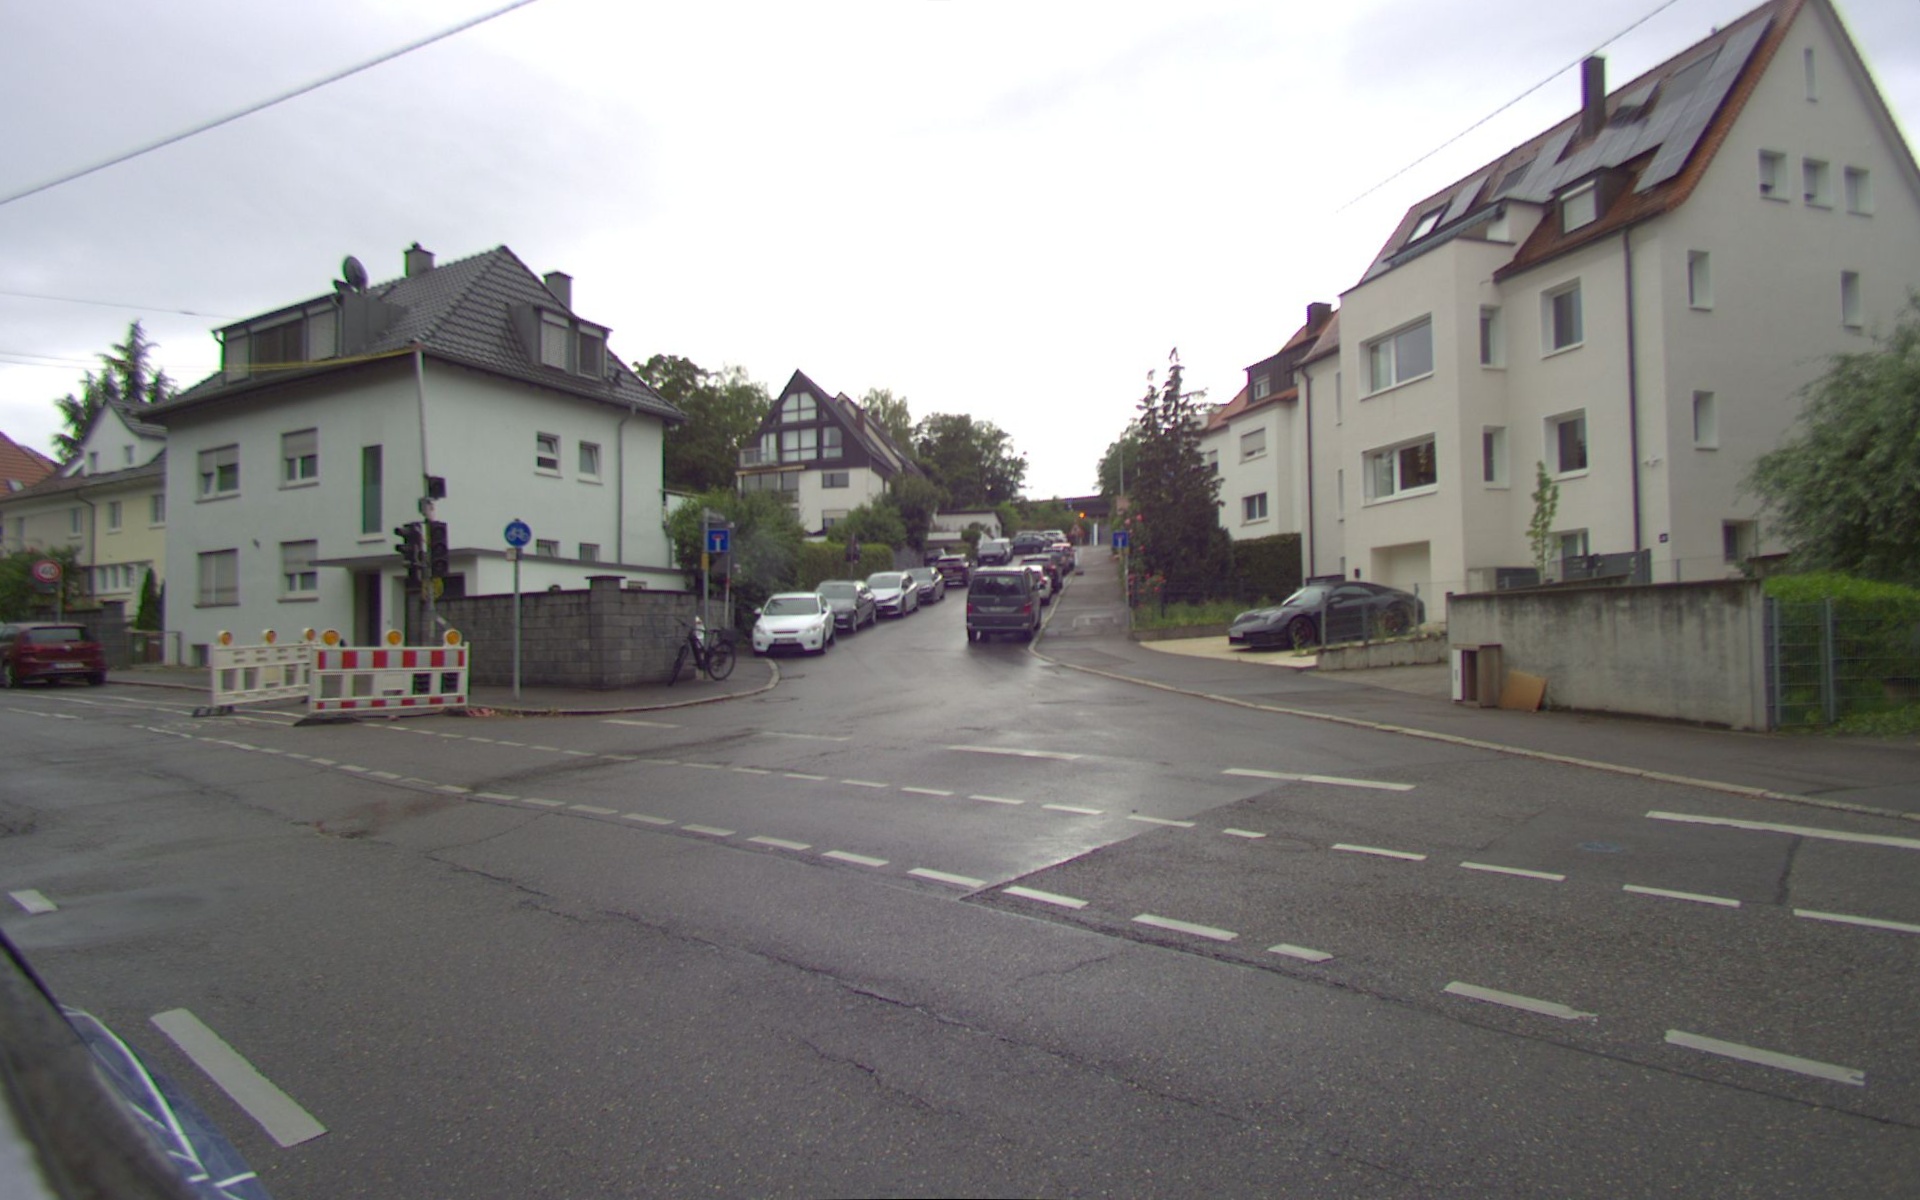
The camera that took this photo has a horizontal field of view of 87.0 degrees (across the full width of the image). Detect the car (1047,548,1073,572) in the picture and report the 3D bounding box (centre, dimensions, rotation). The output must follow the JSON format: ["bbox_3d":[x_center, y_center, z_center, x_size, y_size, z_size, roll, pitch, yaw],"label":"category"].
[{"bbox_3d":[6.240,-2.451,62.847,1.488,1.373,3.465,-1,0,8],"label":"car"}]

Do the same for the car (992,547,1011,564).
[{"bbox_3d":[3.060,-3.331,74.709,1.292,1.206,2.980,-1,3,5],"label":"car"}]

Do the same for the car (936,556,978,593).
[{"bbox_3d":[-0.112,-1.366,52.464,1.623,1.637,3.992,-1,5,8],"label":"car"}]

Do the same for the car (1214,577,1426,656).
[{"bbox_3d":[7.711,0.332,21.771,3.942,1.290,1.613,-5,1,-13],"label":"car"}]

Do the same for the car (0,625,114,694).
[{"bbox_3d":[-21.465,1.334,23.380,3.833,1.443,1.768,-1,-1,30],"label":"car"}]

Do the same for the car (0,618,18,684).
[{"bbox_3d":[-26.150,1.317,25.772,4.131,1.653,1.782,-1,-1,25],"label":"car"}]

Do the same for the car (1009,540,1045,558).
[{"bbox_3d":[5.555,-4.204,83.653,2.914,1.328,1.282,-1,0,4],"label":"car"}]

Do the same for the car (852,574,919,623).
[{"bbox_3d":[-2.654,-0.087,37.085,1.738,1.481,3.940,-1,4,6],"label":"car"}]

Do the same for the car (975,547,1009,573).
[{"bbox_3d":[2.198,-2.674,68.884,1.770,1.531,4.016,-1,0,9],"label":"car"}]

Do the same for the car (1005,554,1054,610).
[{"bbox_3d":[2.823,-0.757,40.322,1.686,1.843,4.194,-1,6,7],"label":"car"}]

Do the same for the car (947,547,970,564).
[{"bbox_3d":[-0.080,-3.263,74.020,1.559,1.220,3.650,-1,3,2],"label":"car"}]

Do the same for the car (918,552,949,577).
[{"bbox_3d":[-1.825,-2.423,69.792,1.793,1.566,4.009,-1,0,3],"label":"car"}]

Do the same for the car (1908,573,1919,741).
[{"bbox_3d":[10.609,0.422,8.548,3.934,1.497,1.780,-2,-1,-12],"label":"car"}]

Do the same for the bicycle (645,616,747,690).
[{"bbox_3d":[-4.782,0.931,18.456,0.508,1.249,1.984,1,0,32],"label":"bicycle"}]

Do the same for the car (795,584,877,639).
[{"bbox_3d":[-3.824,0.317,31.817,1.702,1.397,3.900,-1,4,6],"label":"car"}]

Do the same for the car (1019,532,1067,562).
[{"bbox_3d":[7.204,-4.568,87.641,3.954,2.028,1.995,-5,-1,8],"label":"car"}]

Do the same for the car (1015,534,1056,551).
[{"bbox_3d":[7.392,-5.596,98.787,3.922,1.528,1.748,-1,0,6],"label":"car"}]

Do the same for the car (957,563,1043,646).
[{"bbox_3d":[1.246,0.048,29.324,1.978,2.028,4.482,-1,4,9],"label":"car"}]

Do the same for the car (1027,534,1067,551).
[{"bbox_3d":[8.940,-5.906,103.913,3.782,1.529,1.664,-1,0,15],"label":"car"}]

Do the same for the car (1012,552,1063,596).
[{"bbox_3d":[3.524,-1.196,45.375,1.823,1.699,4.039,-1,5,11],"label":"car"}]

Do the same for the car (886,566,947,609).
[{"bbox_3d":[-1.804,-0.556,42.958,1.903,1.448,4.100,-1,5,7],"label":"car"}]

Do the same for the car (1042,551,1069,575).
[{"bbox_3d":[5.505,-2.147,58.110,1.274,1.325,2.984,-1,3,10],"label":"car"}]

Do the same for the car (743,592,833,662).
[{"bbox_3d":[-4.350,0.623,26.154,1.827,1.473,4.124,-1,3,-3],"label":"car"}]
